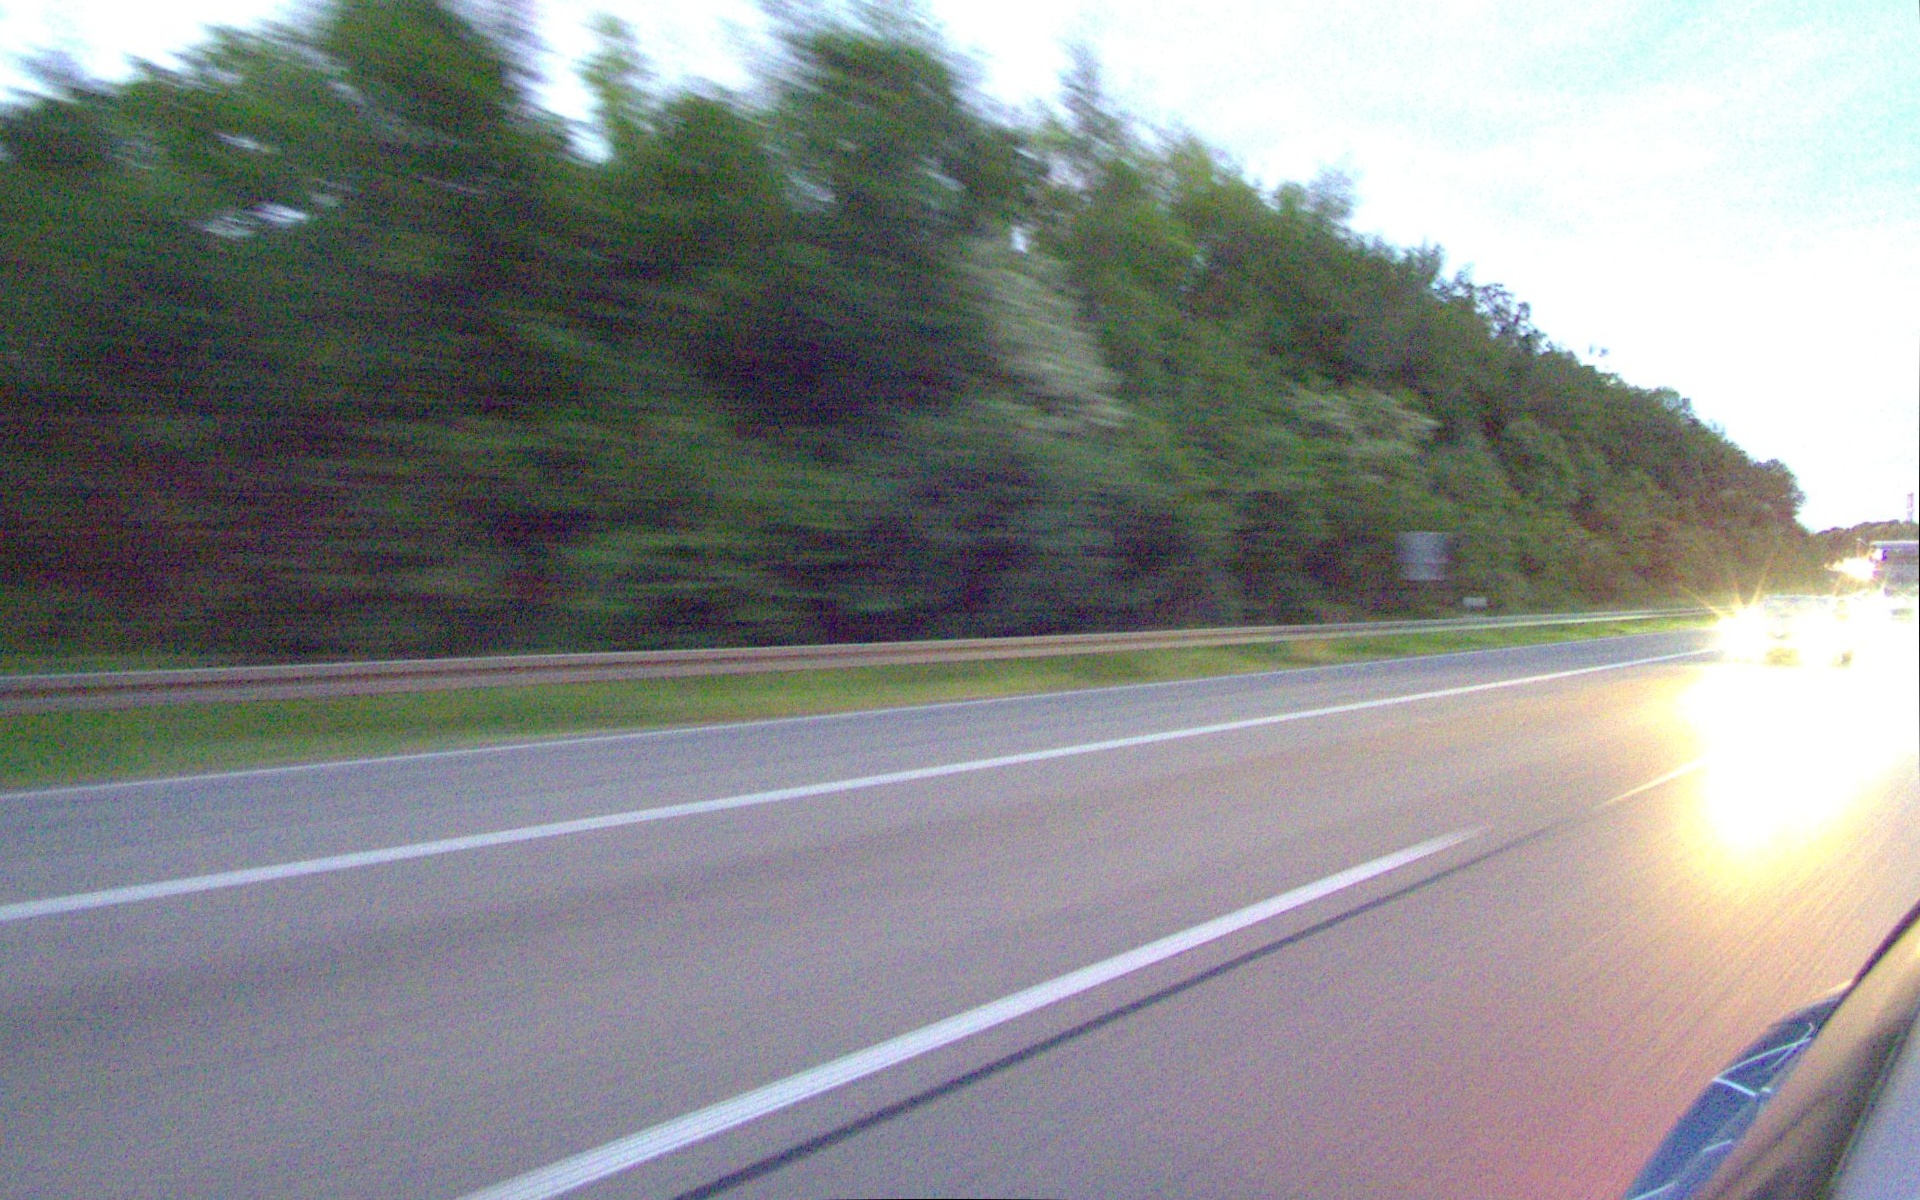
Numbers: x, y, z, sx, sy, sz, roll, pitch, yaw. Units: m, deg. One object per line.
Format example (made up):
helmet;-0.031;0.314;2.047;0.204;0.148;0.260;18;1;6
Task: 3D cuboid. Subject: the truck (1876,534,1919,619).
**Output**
truck;47.220;-1.193;49.965;5.497;4.017;2.494;-2;2;-43

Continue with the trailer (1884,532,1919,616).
trailer;52.124;-1.493;54.632;13.284;4.123;2.485;-2;2;-44

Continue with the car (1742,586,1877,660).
car;19.250;0.462;22.860;4.864;1.509;1.693;0;0;-42
